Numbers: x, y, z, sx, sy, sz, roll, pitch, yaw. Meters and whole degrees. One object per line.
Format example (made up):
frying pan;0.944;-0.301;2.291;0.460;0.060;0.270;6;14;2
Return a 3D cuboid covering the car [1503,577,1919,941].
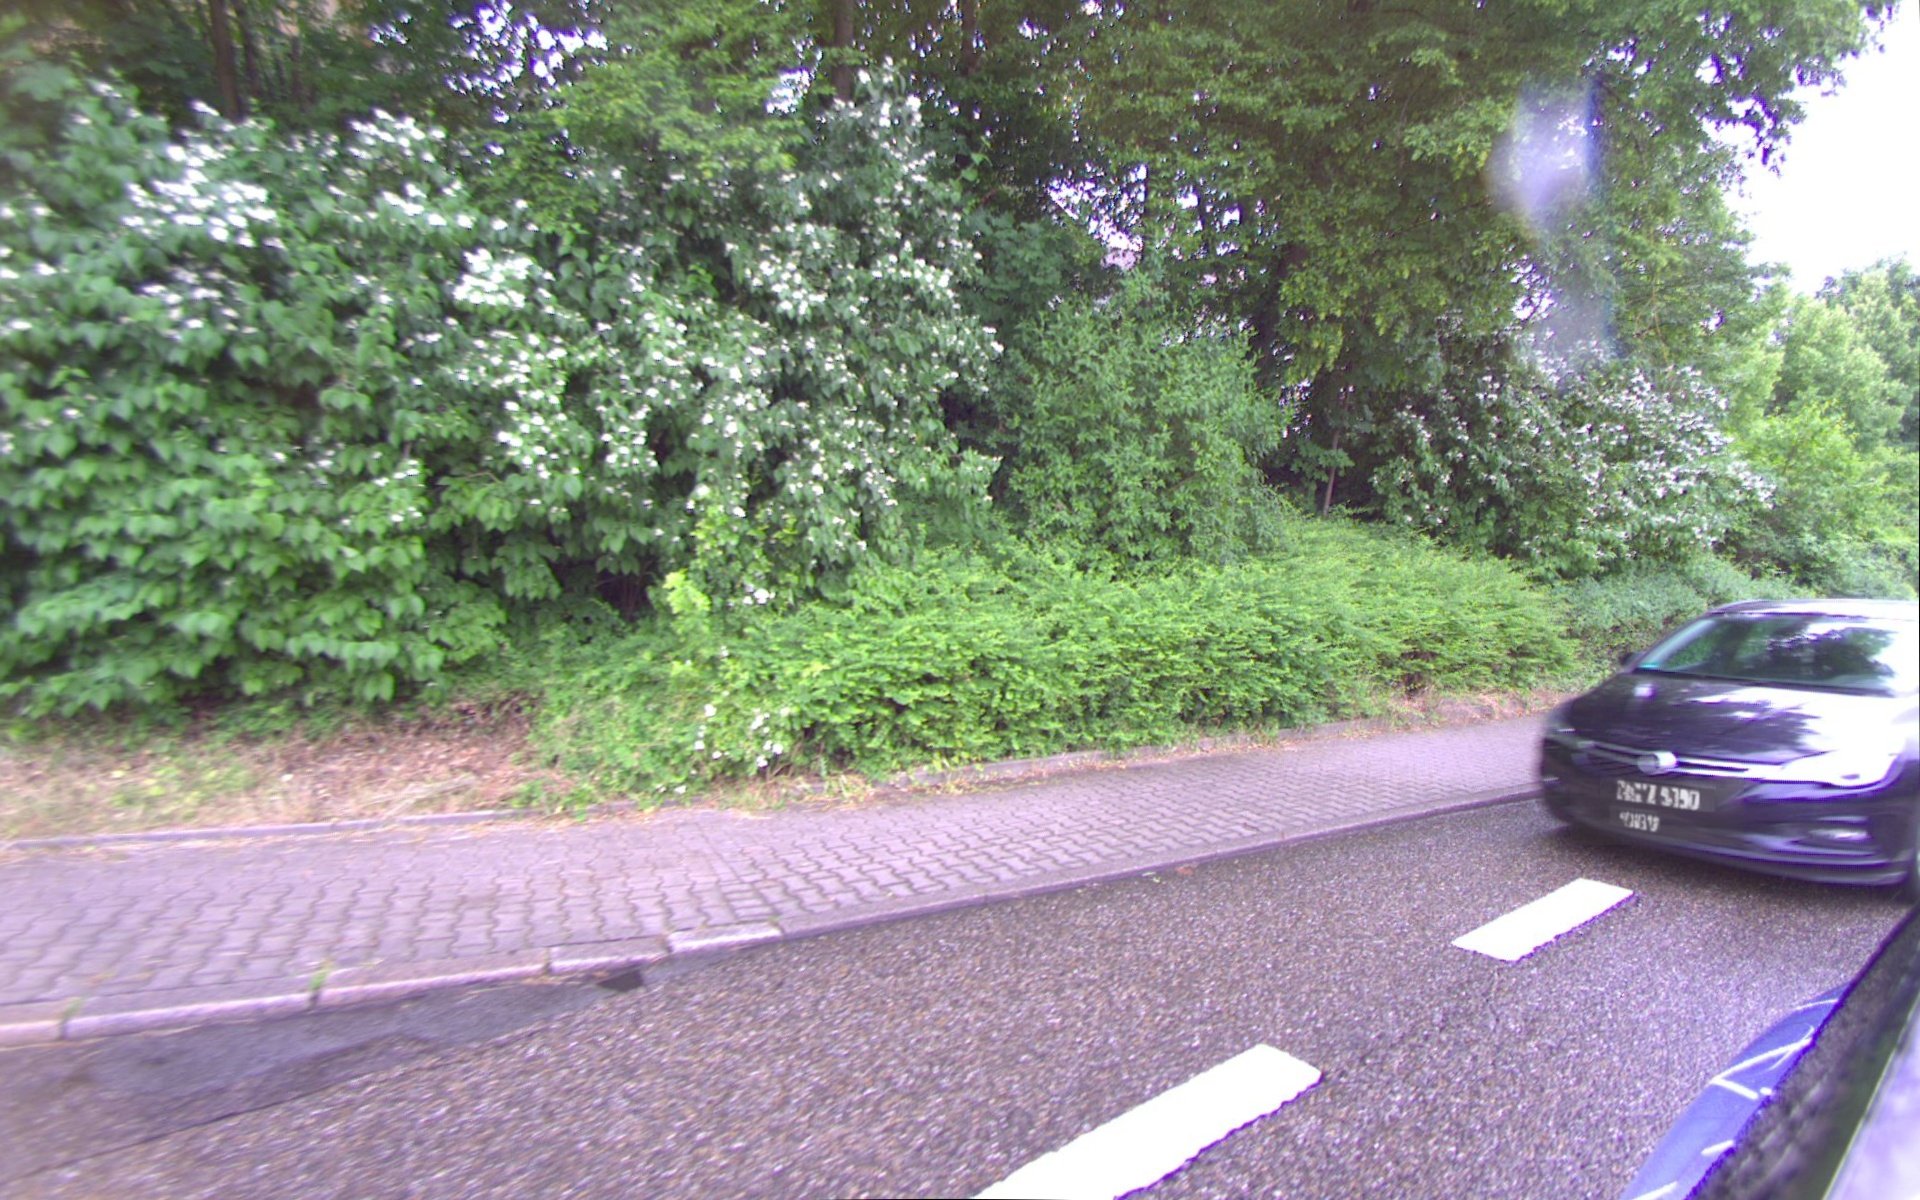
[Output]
car;5.403;0.658;6.133;4.080;1.460;1.821;0;4;-31
